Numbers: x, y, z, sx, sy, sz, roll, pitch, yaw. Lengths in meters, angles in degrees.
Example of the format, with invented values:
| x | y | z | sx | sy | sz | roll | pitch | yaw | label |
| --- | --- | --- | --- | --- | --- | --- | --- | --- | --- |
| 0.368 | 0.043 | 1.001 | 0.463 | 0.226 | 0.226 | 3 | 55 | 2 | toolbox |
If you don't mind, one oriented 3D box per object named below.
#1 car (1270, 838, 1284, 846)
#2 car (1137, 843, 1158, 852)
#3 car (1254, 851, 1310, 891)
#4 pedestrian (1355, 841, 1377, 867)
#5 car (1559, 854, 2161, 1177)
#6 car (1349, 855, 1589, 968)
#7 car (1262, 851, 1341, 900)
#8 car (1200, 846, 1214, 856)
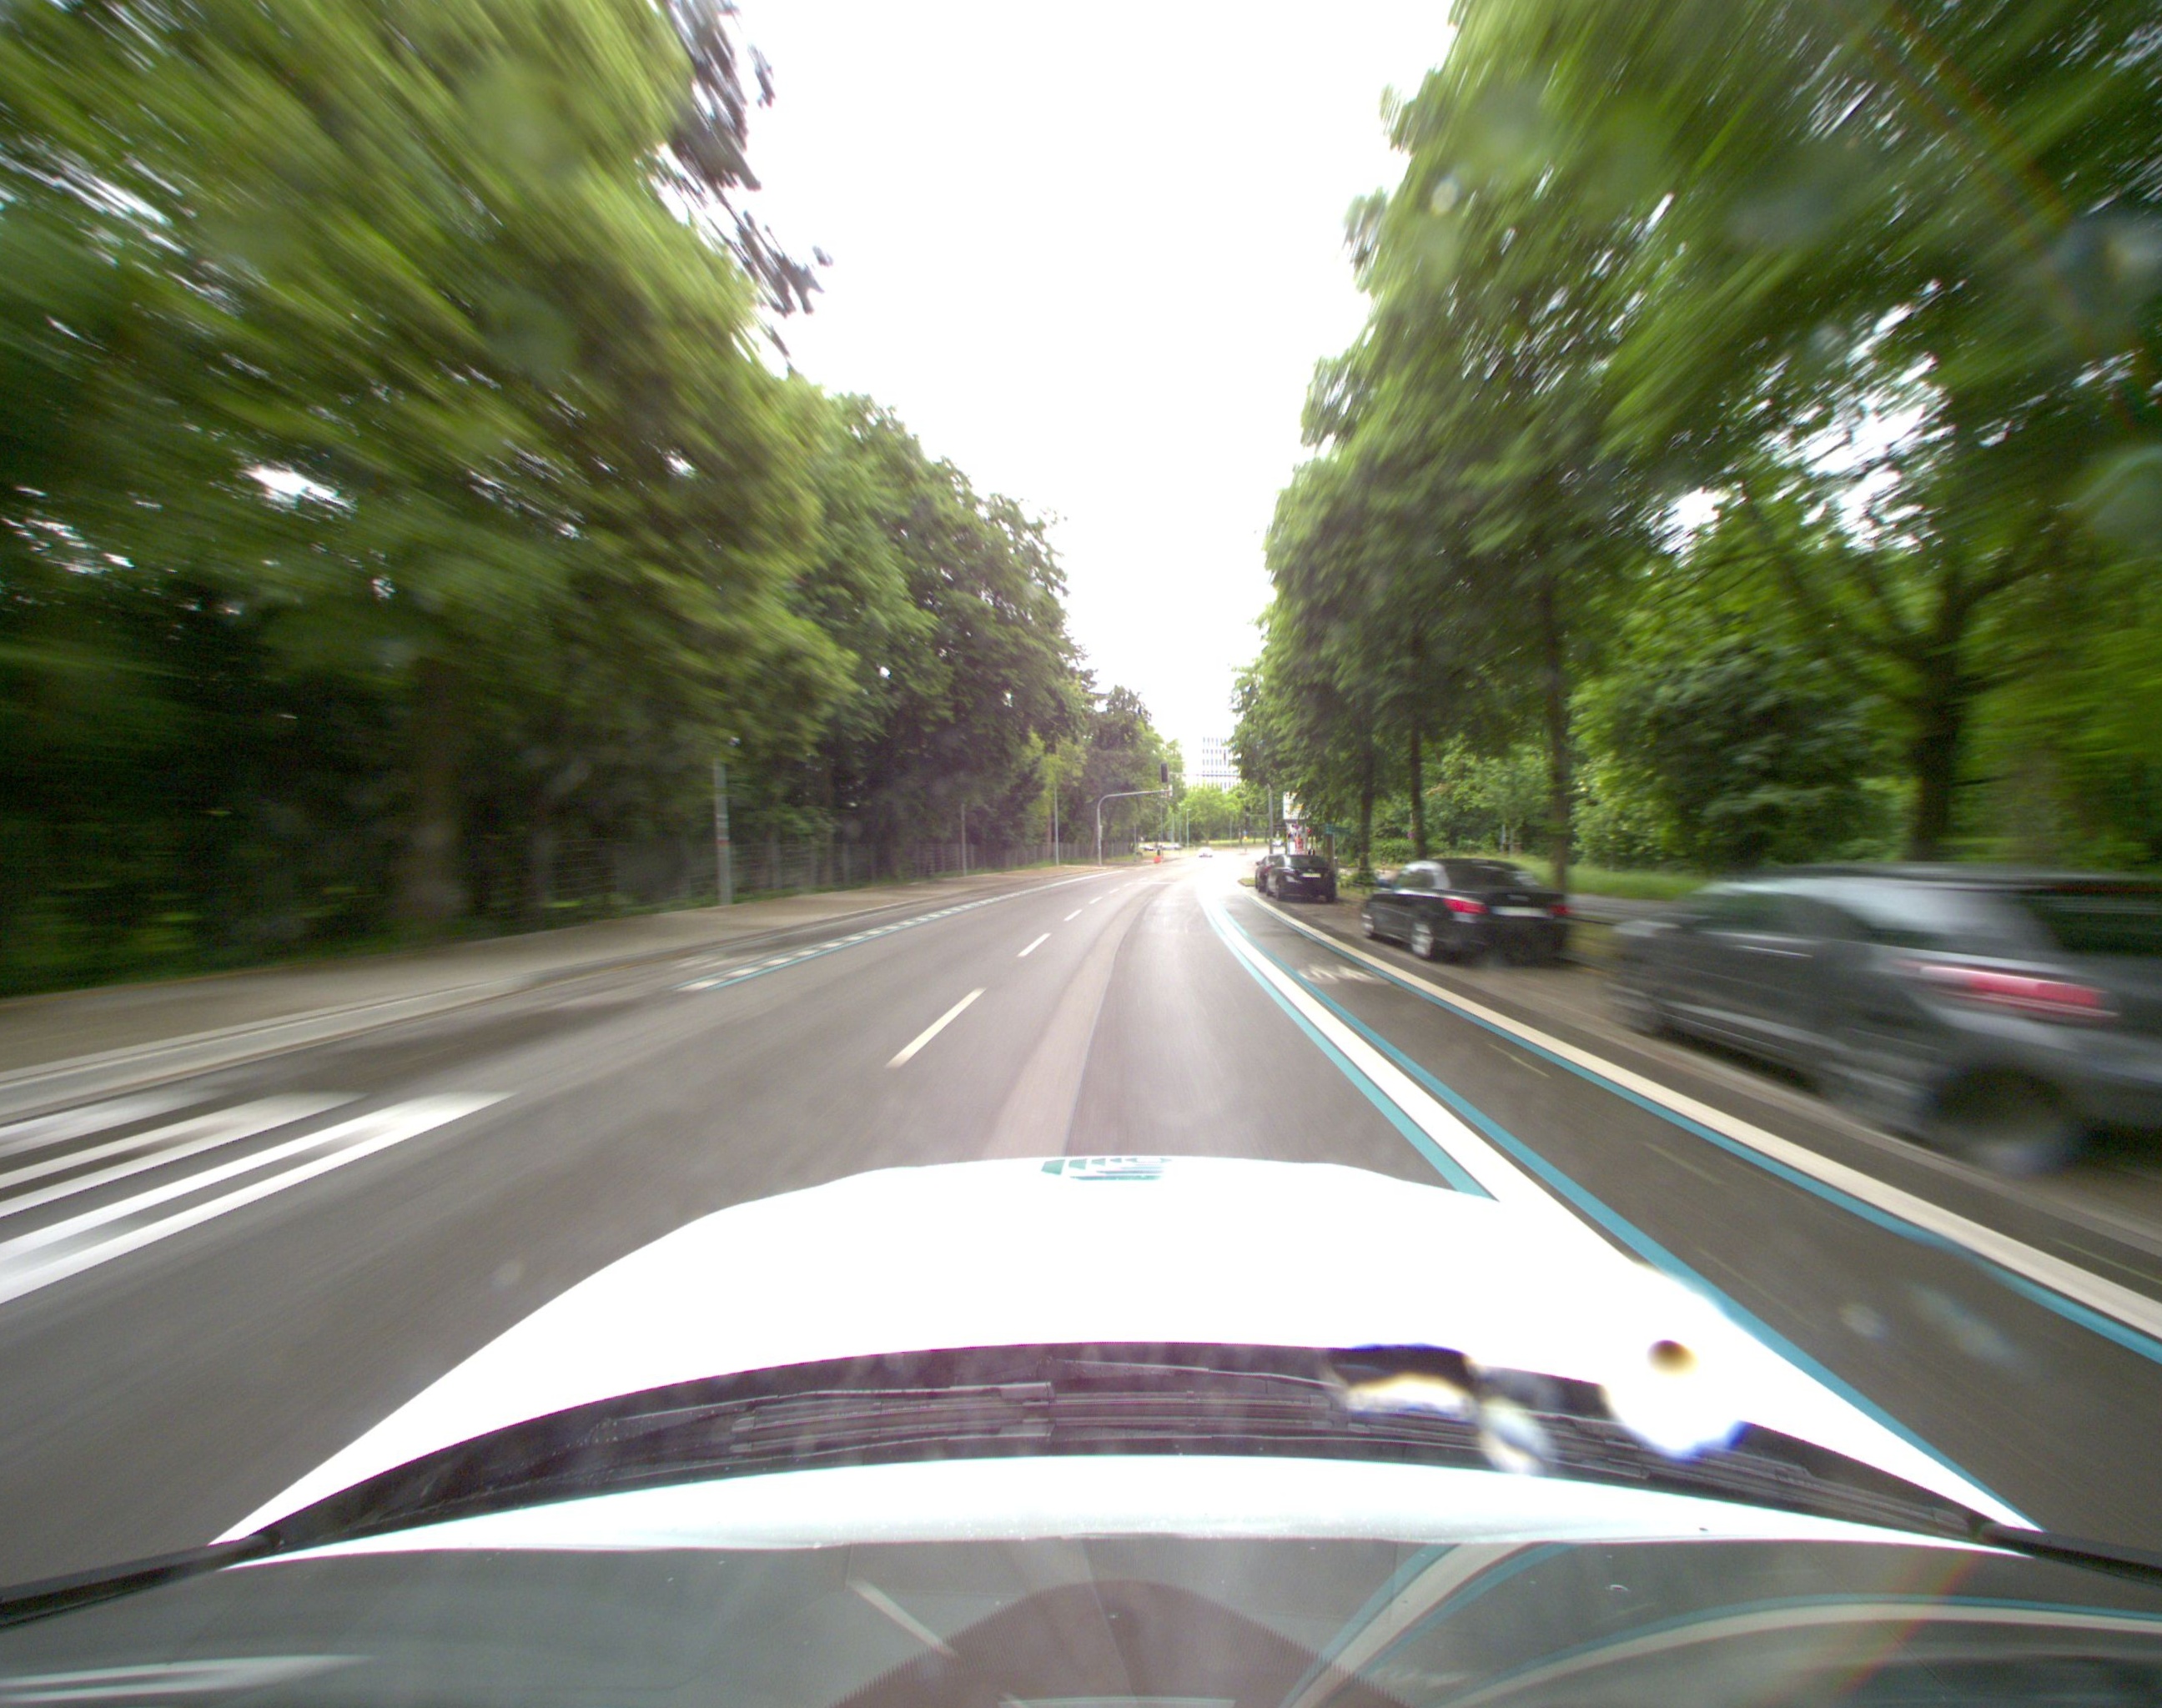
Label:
| x | y | z | sx | sy | sz | roll | pitch | yaw | label |
| --- | --- | --- | --- | --- | --- | --- | --- | --- | --- |
| 45.553 | -2.768 | 189.192 | 1.975 | 1.685 | 4.025 | 0 | 1 | 29 | car |
| 13.801 | -1.390 | 168.049 | 3.960 | 1.441 | 1.613 | 7 | 4 | 14 | car |
| 7.934 | 0.630 | 32.490 | 1.747 | 1.439 | 4.869 | 1 | 0 | 9 | car |
| 19.263 | -0.022 | 55.009 | 0.888 | 1.733 | 1.140 | 0 | 0 | -16 | pedestrian |
| 5.270 | 0.722 | 5.754 | 1.674 | 1.428 | 4.326 | 1 | 0 | 7 | car |
| 5.730 | 0.729 | 12.782 | 1.773 | 1.407 | 4.851 | 1 | 0 | 4 | car |
| 7.085 | 0.644 | 26.614 | 1.691 | 1.420 | 4.771 | 1 | 0 | 6 | car |
| 19.645 | -0.538 | 127.253 | 1.831 | 1.457 | 4.516 | 0 | 2 | 13 | car |
